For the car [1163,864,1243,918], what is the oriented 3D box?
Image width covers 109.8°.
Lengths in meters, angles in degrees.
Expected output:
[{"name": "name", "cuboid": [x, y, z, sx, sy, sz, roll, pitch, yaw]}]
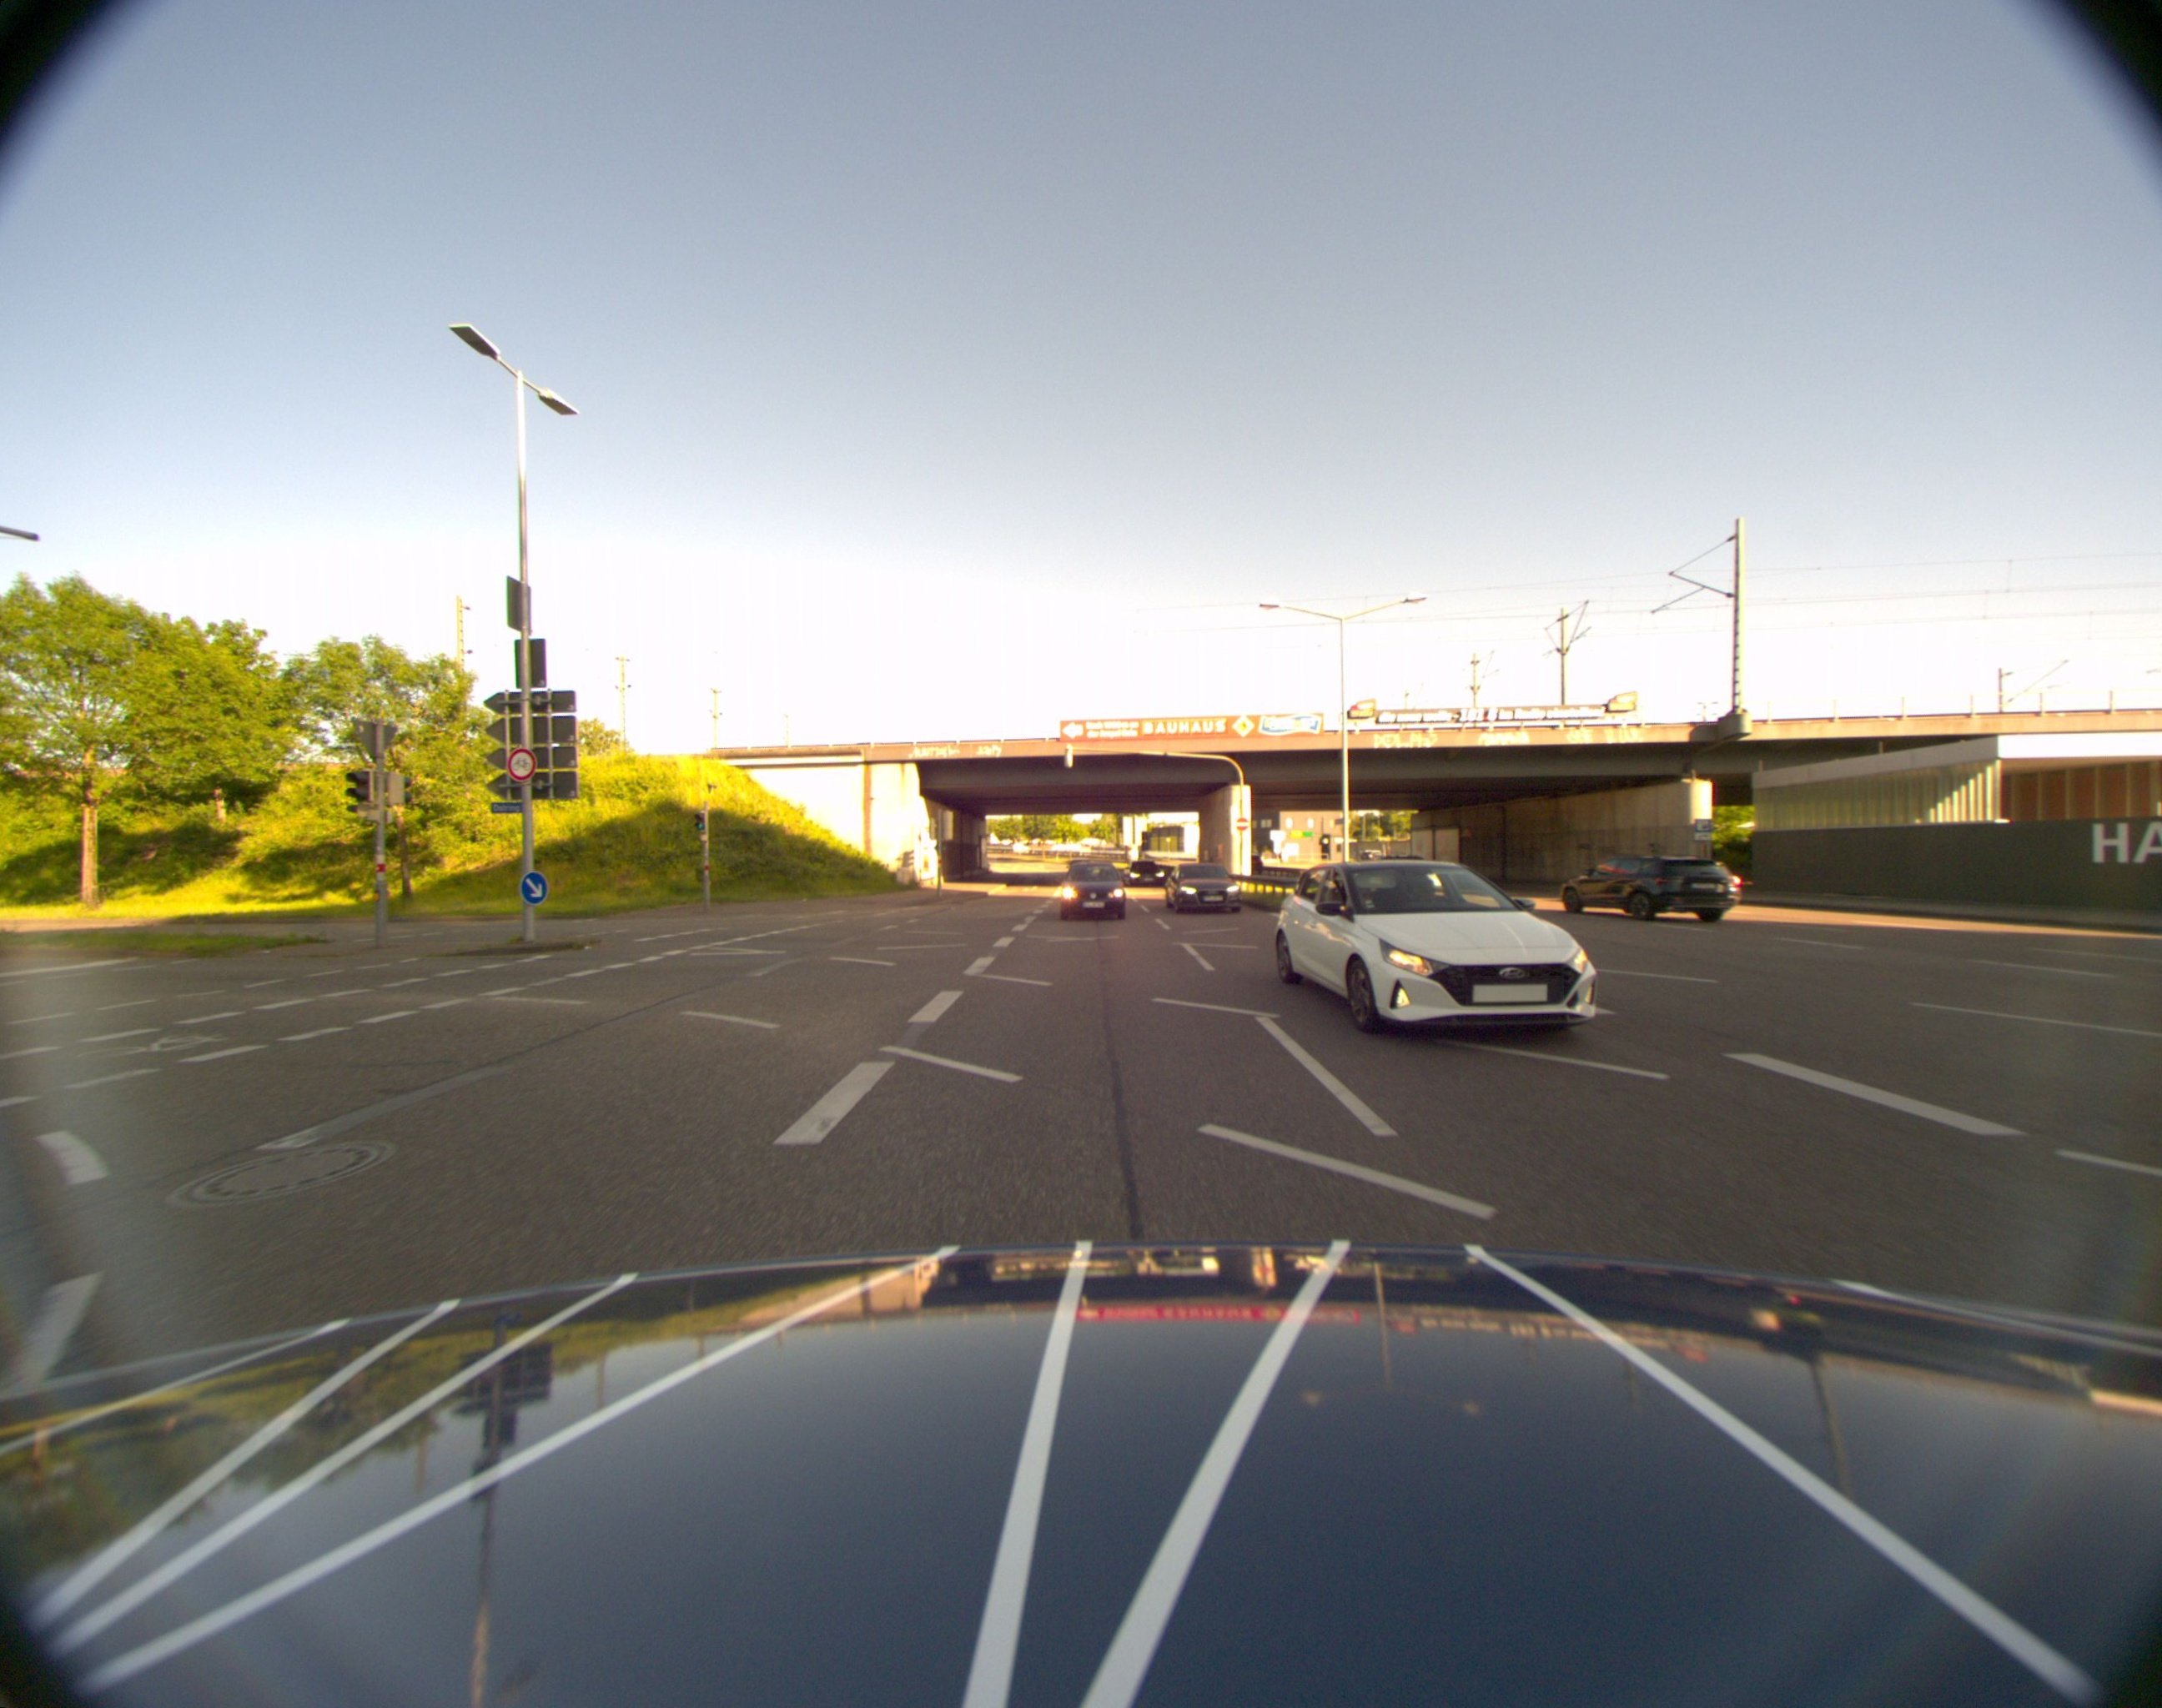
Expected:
[{"name": "car", "cuboid": [3.486, 1.012, 22.371, 1.702, 1.396, 4.365, 0, 0, 1]}]

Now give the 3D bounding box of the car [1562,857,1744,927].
[{"name": "car", "cuboid": [14.169, 0.858, 19.150, 1.632, 1.531, 4.000, 2, 0, 2]}]

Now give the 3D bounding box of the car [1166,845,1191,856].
[{"name": "car", "cuboid": [15.619, -0.583, 121.530, 3.897, 1.645, 1.723, -2, 1, 5]}]

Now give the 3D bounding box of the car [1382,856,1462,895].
[{"name": "car", "cuboid": [14.835, 0.881, 33.312, 1.727, 1.531, 4.000, 2, 0, 1]}]

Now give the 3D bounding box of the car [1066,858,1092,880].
[{"name": "car", "cuboid": [-0.087, 1.015, 52.631, 1.702, 1.478, 3.946, 0, 0, 1]}]

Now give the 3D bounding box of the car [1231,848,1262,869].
[{"name": "car", "cuboid": [13.749, 0.339, 63.340, 1.814, 1.687, 4.000, -2, 1, 2]}]

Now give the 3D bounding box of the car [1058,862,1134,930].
[{"name": "car", "cuboid": [0.371, 0.969, 19.342, 1.702, 1.474, 4.052, -1, 0, 1]}]

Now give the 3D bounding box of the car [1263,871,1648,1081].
[{"name": "car", "cuboid": [3.165, 0.918, 7.468, 1.782, 1.400, 4.075, -1, 0, 0]}]

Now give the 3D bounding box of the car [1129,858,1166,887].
[{"name": "car", "cuboid": [3.603, 0.982, 41.843, 1.702, 1.528, 3.946, 0, 0, 1]}]
